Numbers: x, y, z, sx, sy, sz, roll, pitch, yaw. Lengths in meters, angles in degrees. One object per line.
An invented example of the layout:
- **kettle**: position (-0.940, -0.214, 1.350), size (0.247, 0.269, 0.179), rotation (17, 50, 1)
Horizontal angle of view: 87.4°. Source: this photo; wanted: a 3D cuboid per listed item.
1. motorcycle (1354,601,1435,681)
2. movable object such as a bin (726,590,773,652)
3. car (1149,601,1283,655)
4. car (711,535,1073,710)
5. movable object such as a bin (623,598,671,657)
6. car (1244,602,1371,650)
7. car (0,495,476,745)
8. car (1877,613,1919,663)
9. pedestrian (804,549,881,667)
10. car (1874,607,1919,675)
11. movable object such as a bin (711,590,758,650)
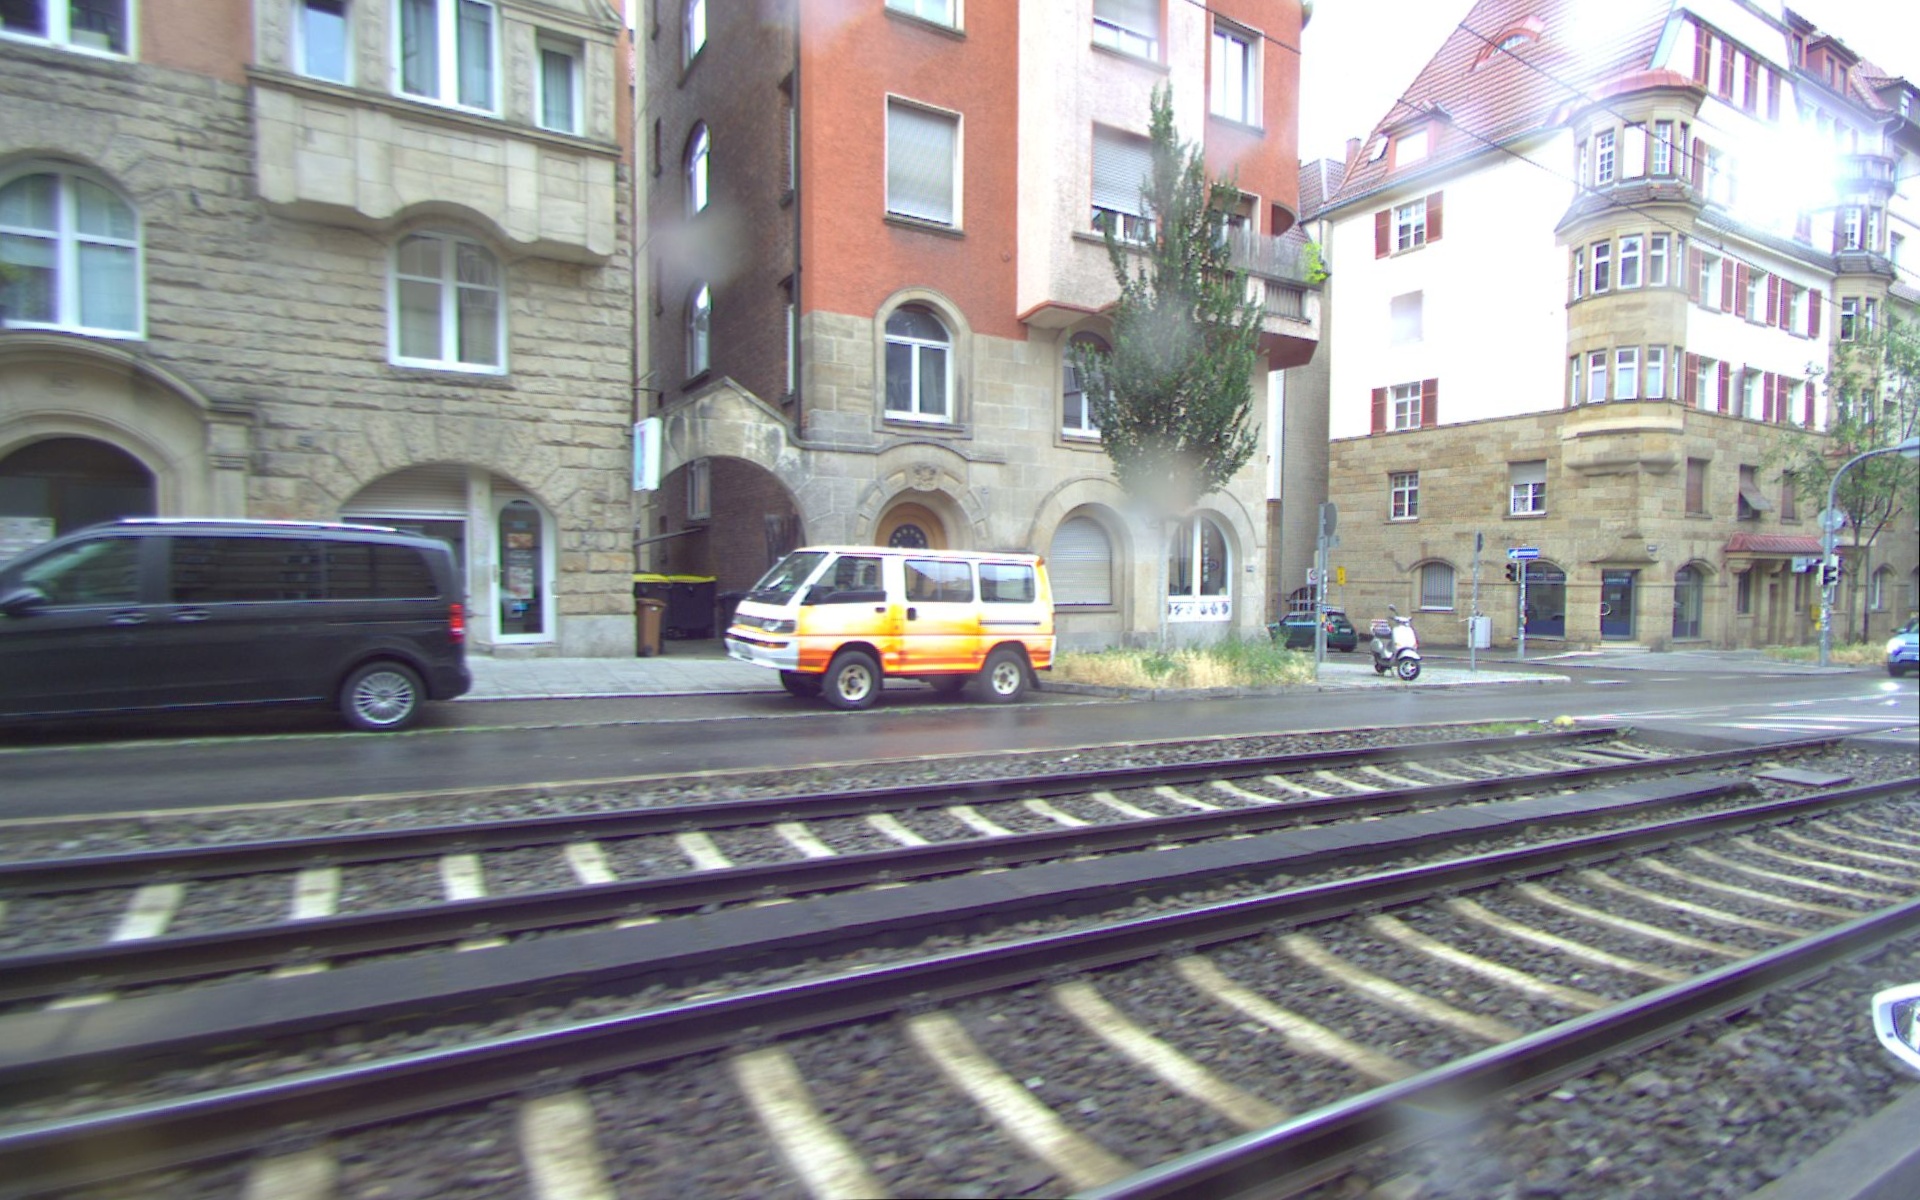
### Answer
- **motorcycle**: position (8.081, 0.736, 18.765), size (0.752, 1.393, 1.785), rotation (2, 0, 2)
- **movable object such as a bin**: position (-3.714, 0.364, 17.724), size (0.648, 1.058, 0.545), rotation (2, 0, -29)
- **car**: position (7.786, 0.840, 30.935), size (1.726, 1.486, 3.968), rotation (2, 0, -30)
- **car**: position (-0.810, 0.307, 13.165), size (4.426, 1.956, 1.719), rotation (2, 0, -32)
- **movable object such as a bin**: position (-5.069, 0.443, 16.255), size (0.647, 0.910, 0.544), rotation (2, 0, -27)
- **car**: position (12.475, 0.910, 36.277), size (1.979, 1.595, 3.963), rotation (2, 0, -33)
- **car**: position (-7.177, 0.173, 9.195), size (4.777, 1.956, 1.896), rotation (2, 0, -31)
- **car**: position (32.054, 1.268, 33.075), size (4.130, 1.549, 1.680), rotation (2, 0, -32)
- **pedestrian**: position (-1.843, 0.120, 15.667), size (0.882, 1.743, 0.713), rotation (2, 6, -30)
- **car**: position (25.352, 1.075, 25.660), size (4.083, 1.639, 1.910), rotation (2, 0, -32)
- **movable object such as a bin**: position (-4.096, 0.350, 18.232), size (0.648, 1.058, 0.676), rotation (2, 0, -29)
